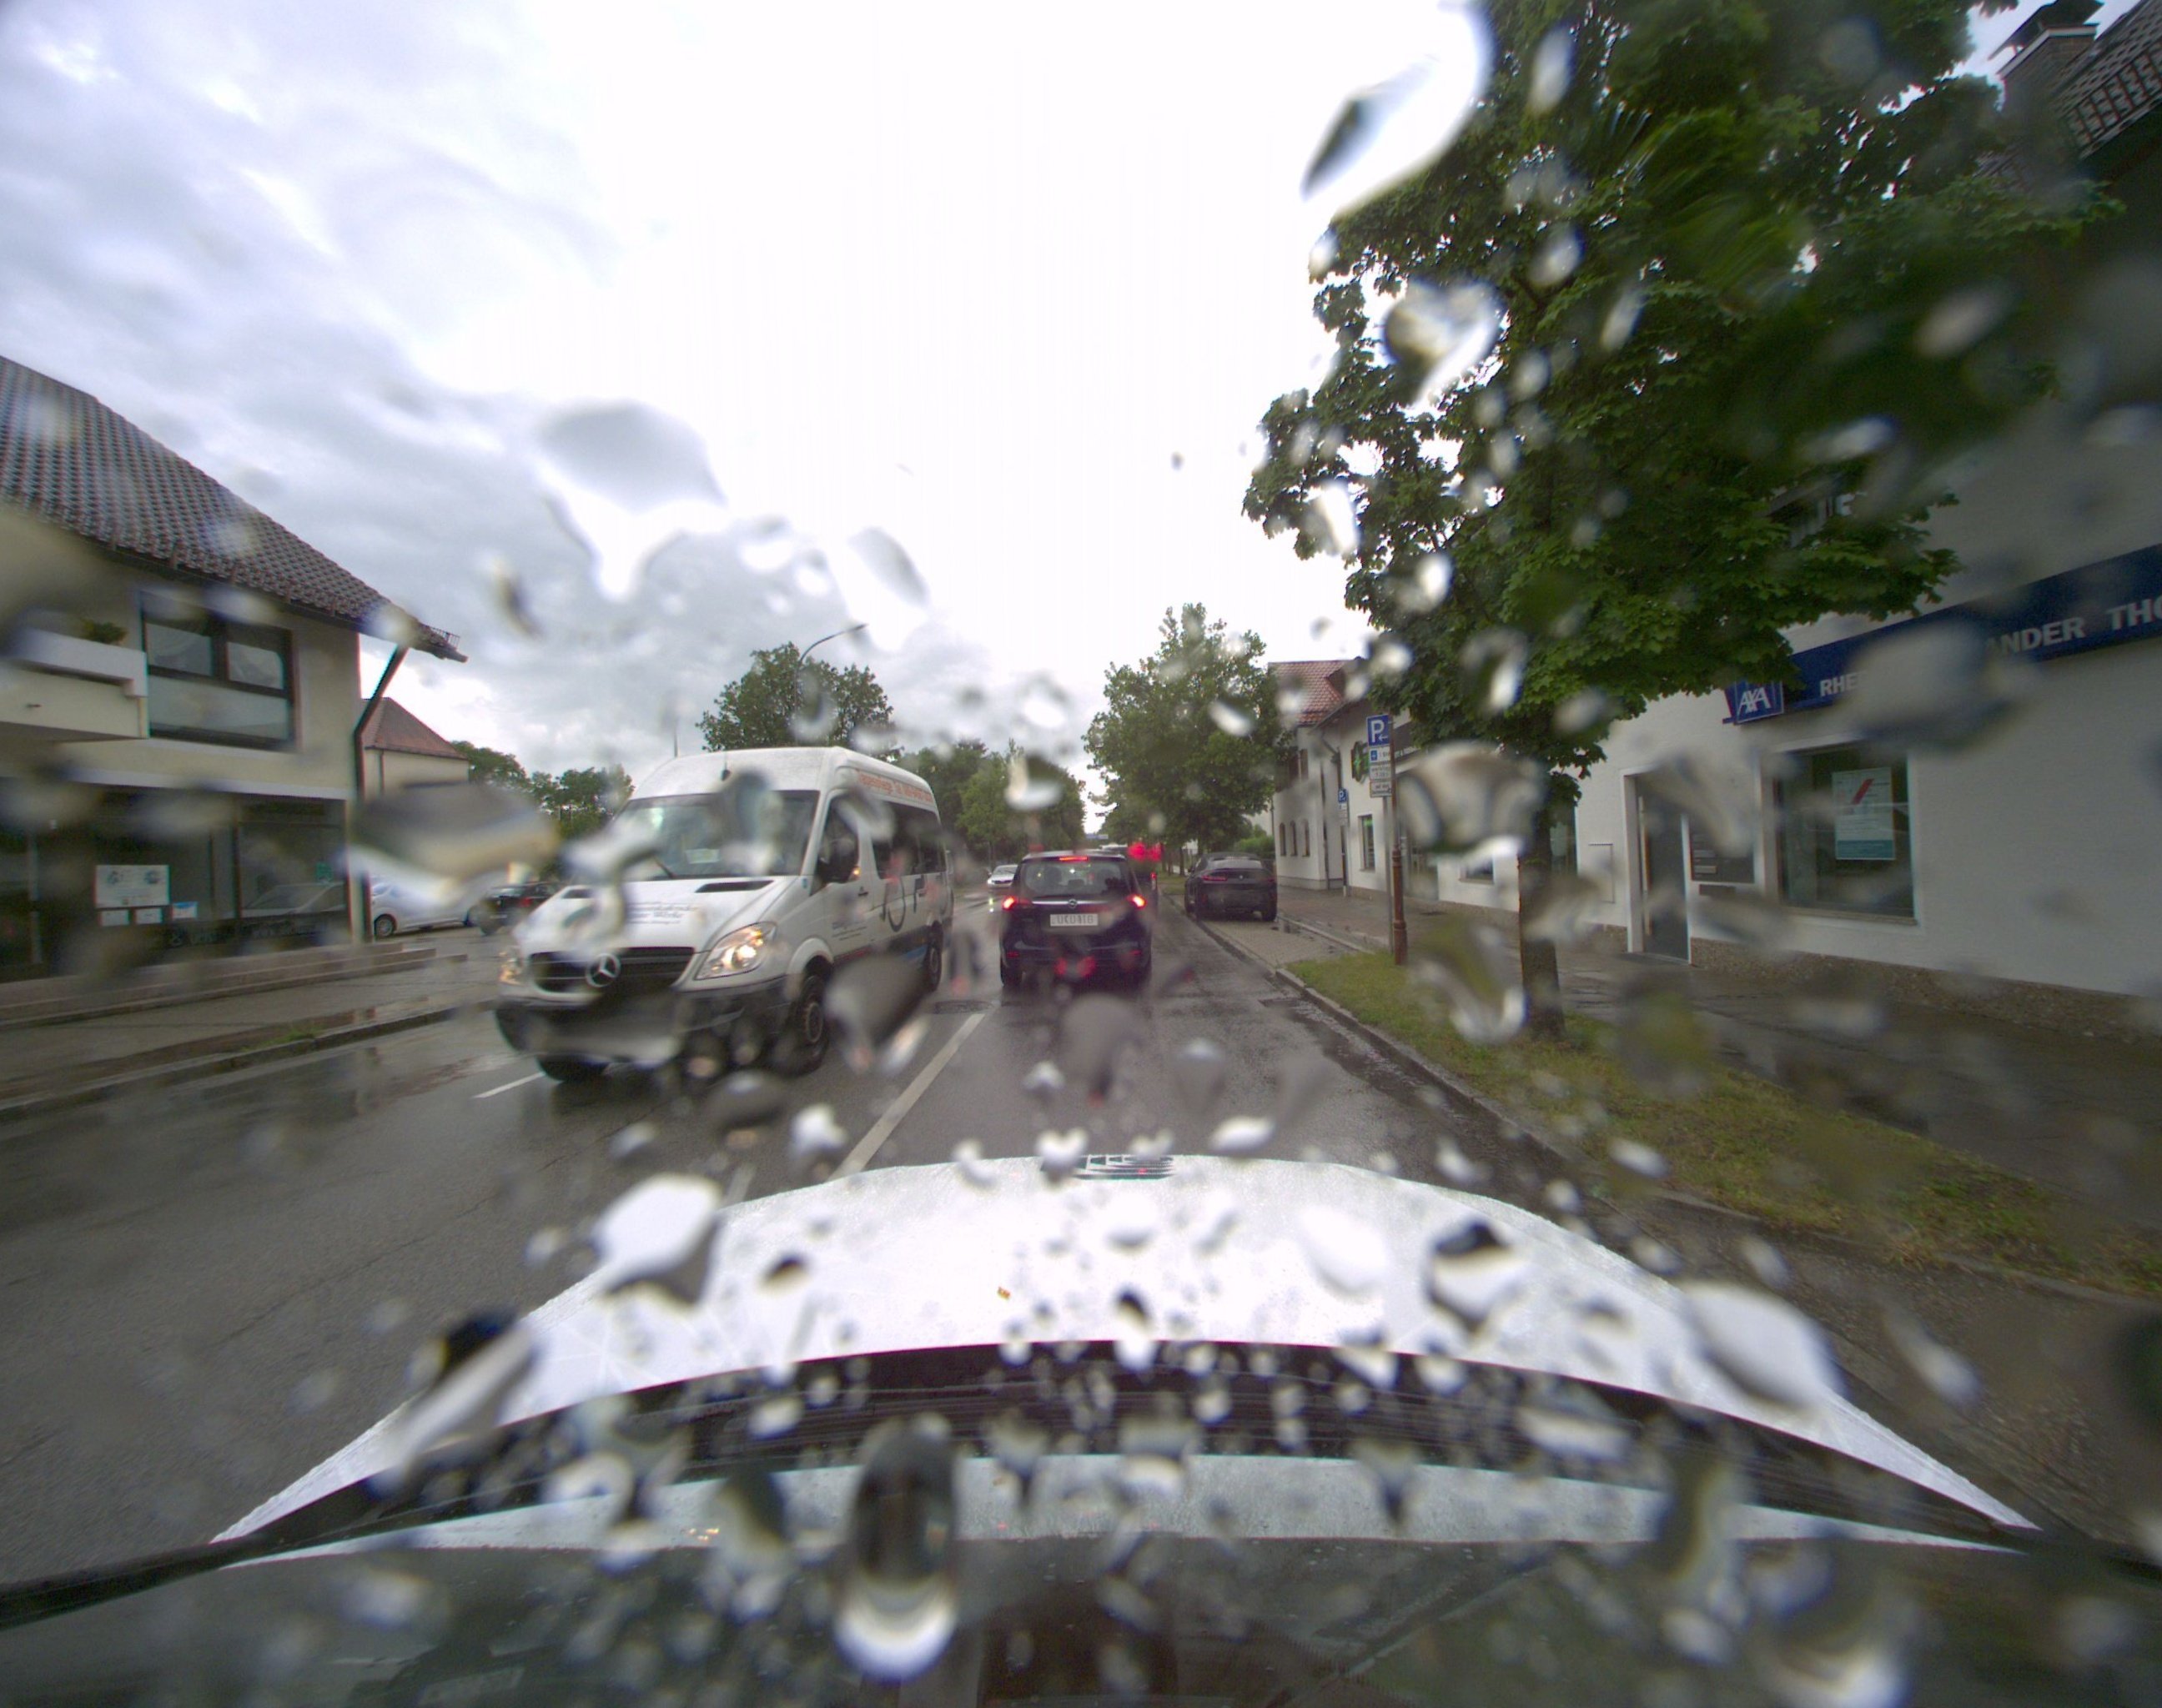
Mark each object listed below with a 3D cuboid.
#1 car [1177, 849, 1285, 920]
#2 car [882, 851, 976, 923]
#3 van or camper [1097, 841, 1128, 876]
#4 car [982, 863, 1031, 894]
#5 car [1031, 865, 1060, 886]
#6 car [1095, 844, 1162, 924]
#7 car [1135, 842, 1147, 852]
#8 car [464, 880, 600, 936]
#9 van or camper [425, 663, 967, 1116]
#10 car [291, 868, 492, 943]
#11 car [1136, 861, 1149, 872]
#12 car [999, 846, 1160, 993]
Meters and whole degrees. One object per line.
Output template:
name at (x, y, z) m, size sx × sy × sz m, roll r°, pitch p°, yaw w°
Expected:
car at (3.653, 0.723, 20.545) m, size 2.110 × 1.581 × 3.937 m, roll -1°, pitch -1°, yaw 2°
car at (-4.611, 0.943, 25.506) m, size 1.810 × 1.891 × 5.258 m, roll -4°, pitch -1°, yaw 0°
van or camper at (2.597, 0.400, 67.506) m, size 2.351 × 2.665 × 5.374 m, roll -3°, pitch -1°, yaw 2°
car at (-3.711, 1.211, 41.423) m, size 1.770 × 1.375 × 4.187 m, roll -4°, pitch -1°, yaw 3°
car at (-2.582, 1.530, 59.651) m, size 1.573 × 1.375 × 4.187 m, roll -4°, pitch -1°, yaw 4°
car at (1.138, 0.686, 19.984) m, size 1.494 × 1.776 × 3.113 m, roll -1°, pitch -1°, yaw 2°
car at (8.721, -1.034, 118.598) m, size 1.624 × 1.378 × 3.624 m, roll -3°, pitch -1°, yaw 2°
car at (-16.346, 1.570, 24.484) m, size 1.601 × 1.380 × 3.509 m, roll -4°, pitch -1°, yaw 1°
van or camper at (-2.830, 0.238, 8.161) m, size 2.085 × 2.707 × 6.273 m, roll -3°, pitch 0°, yaw 3°
car at (-20.913, 1.477, 25.042) m, size 1.957 × 1.919 × 4.738 m, roll -4°, pitch -1°, yaw 2°
car at (8.211, 1.691, 109.131) m, size 1.624 × 1.378 × 3.624 m, roll -1°, pitch -1°, yaw 2°
car at (0.057, 0.741, 10.853) m, size 1.762 × 1.604 × 3.665 m, roll -1°, pitch 0°, yaw 2°
